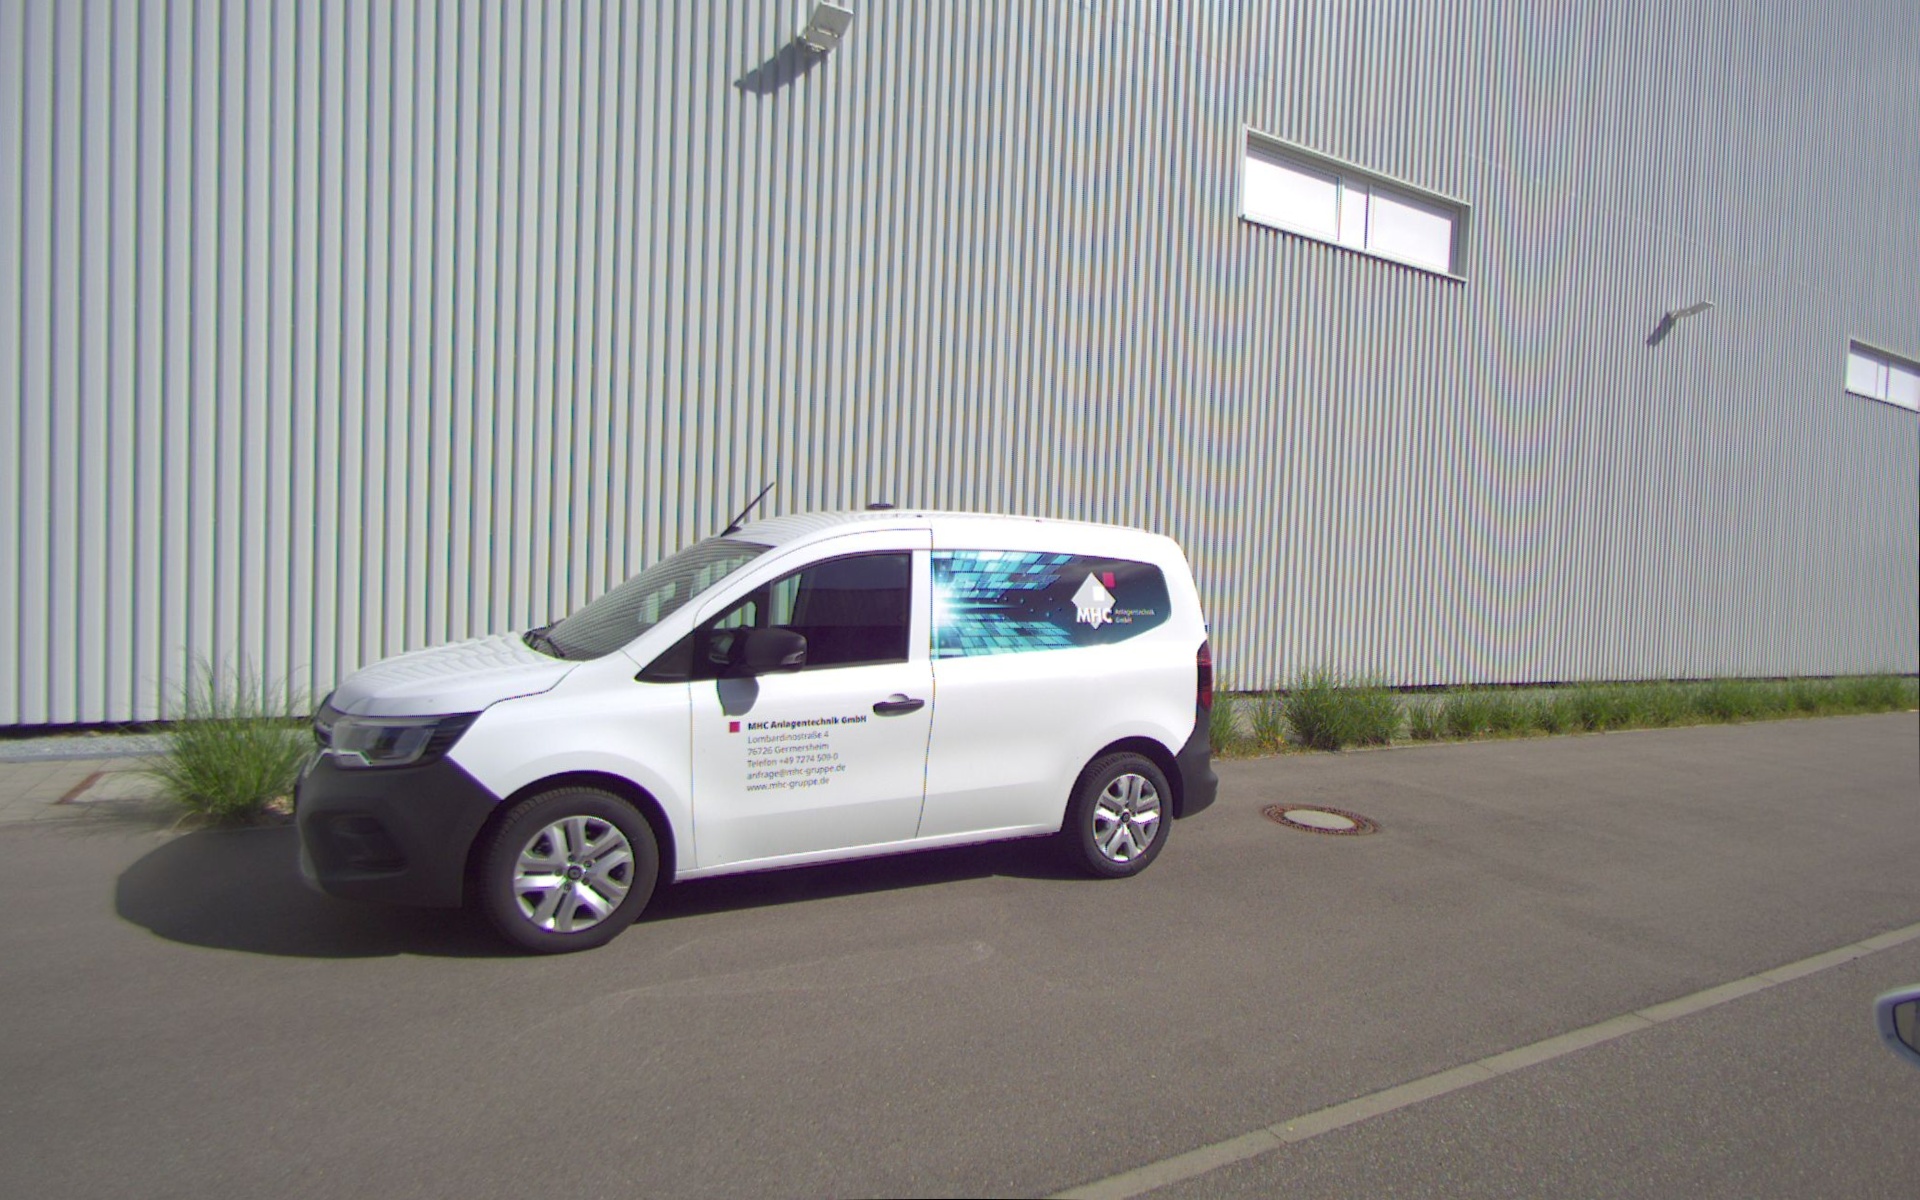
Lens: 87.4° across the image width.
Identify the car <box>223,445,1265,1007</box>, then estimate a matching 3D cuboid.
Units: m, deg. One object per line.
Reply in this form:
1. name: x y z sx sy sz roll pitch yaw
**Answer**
1. car: -0.828 0.406 5.176 4.542 1.814 1.919 1 3 -29
